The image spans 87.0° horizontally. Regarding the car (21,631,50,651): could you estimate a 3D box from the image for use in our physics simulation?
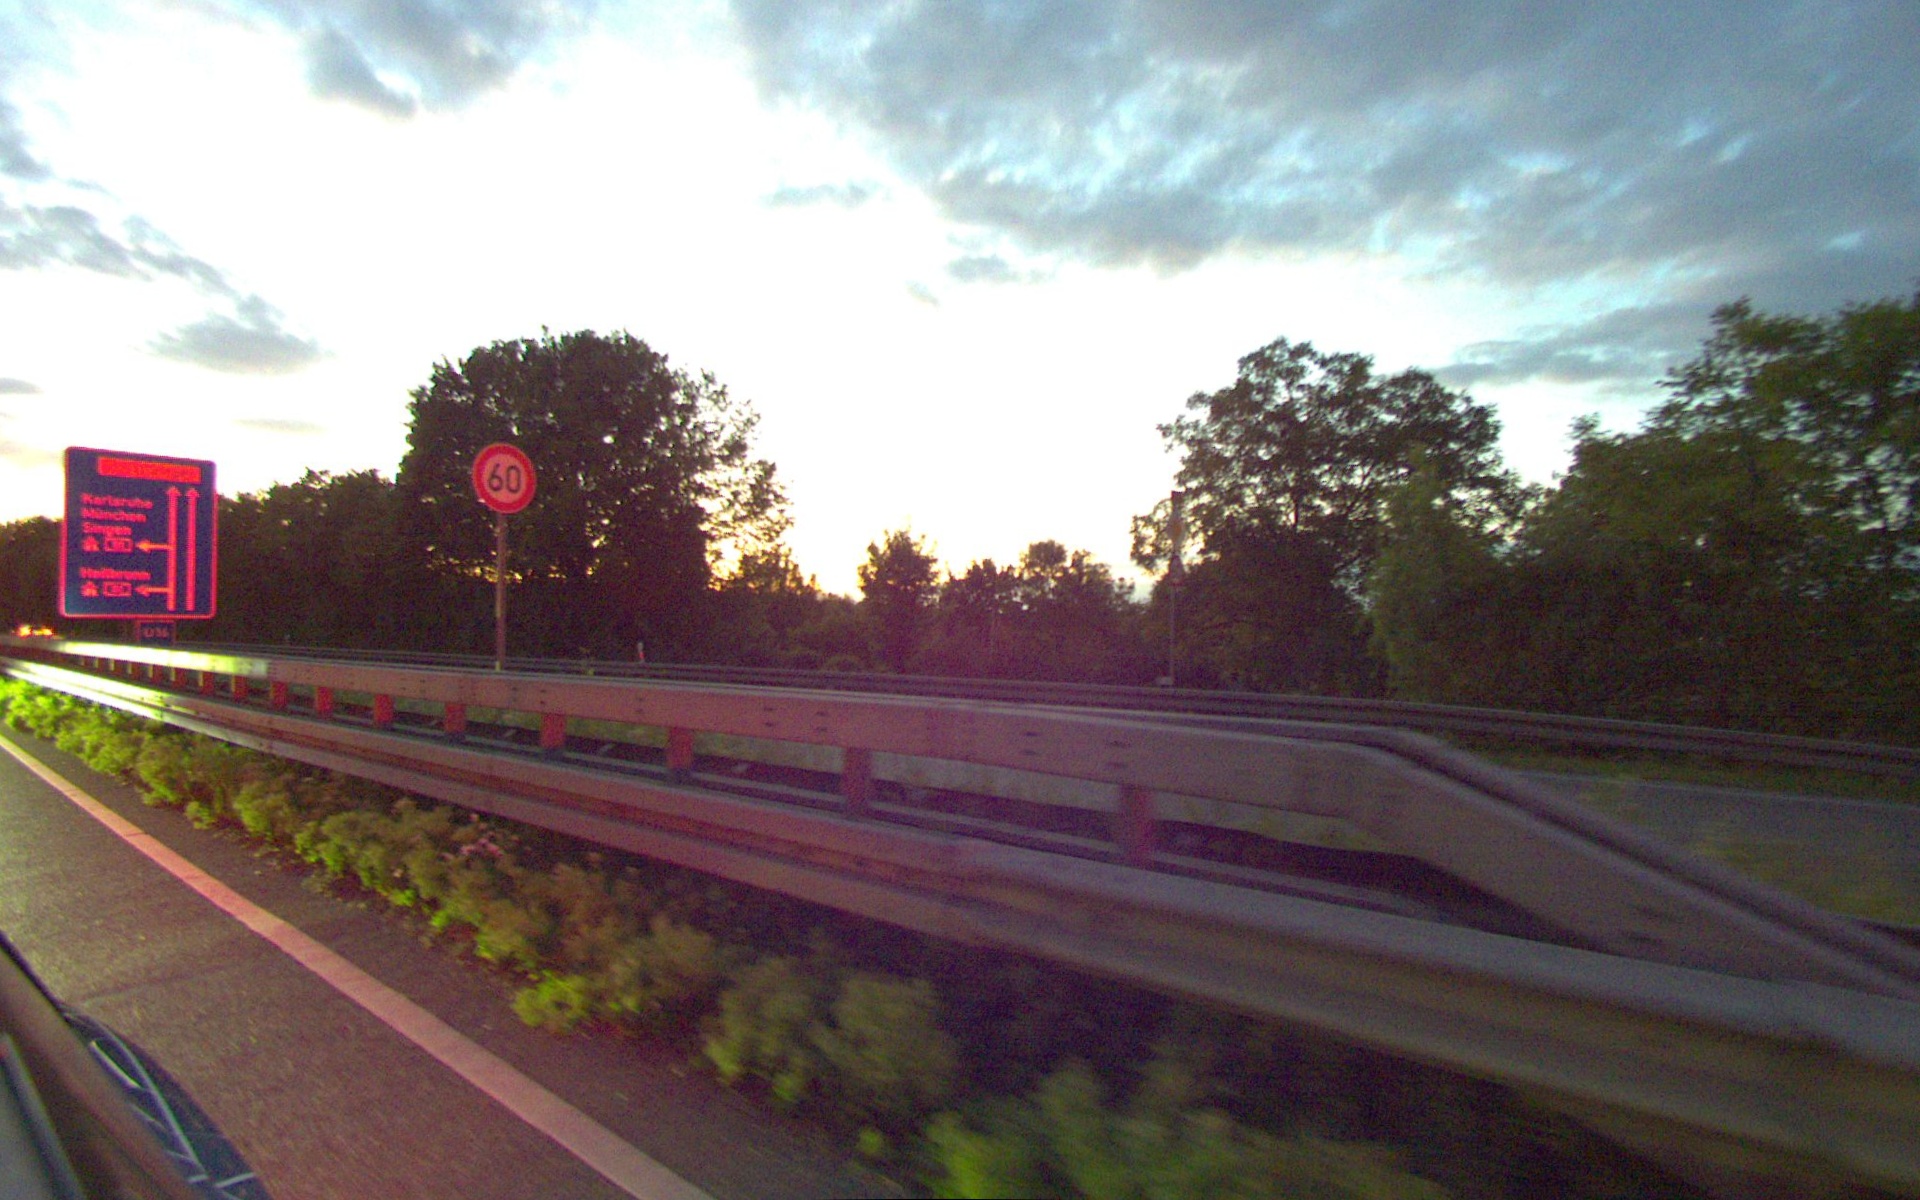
[{"bbox_3d":[-80.016,3.523,87.637,1.773,1.684,4.507,1,-2,-42],"label":"car"}]
